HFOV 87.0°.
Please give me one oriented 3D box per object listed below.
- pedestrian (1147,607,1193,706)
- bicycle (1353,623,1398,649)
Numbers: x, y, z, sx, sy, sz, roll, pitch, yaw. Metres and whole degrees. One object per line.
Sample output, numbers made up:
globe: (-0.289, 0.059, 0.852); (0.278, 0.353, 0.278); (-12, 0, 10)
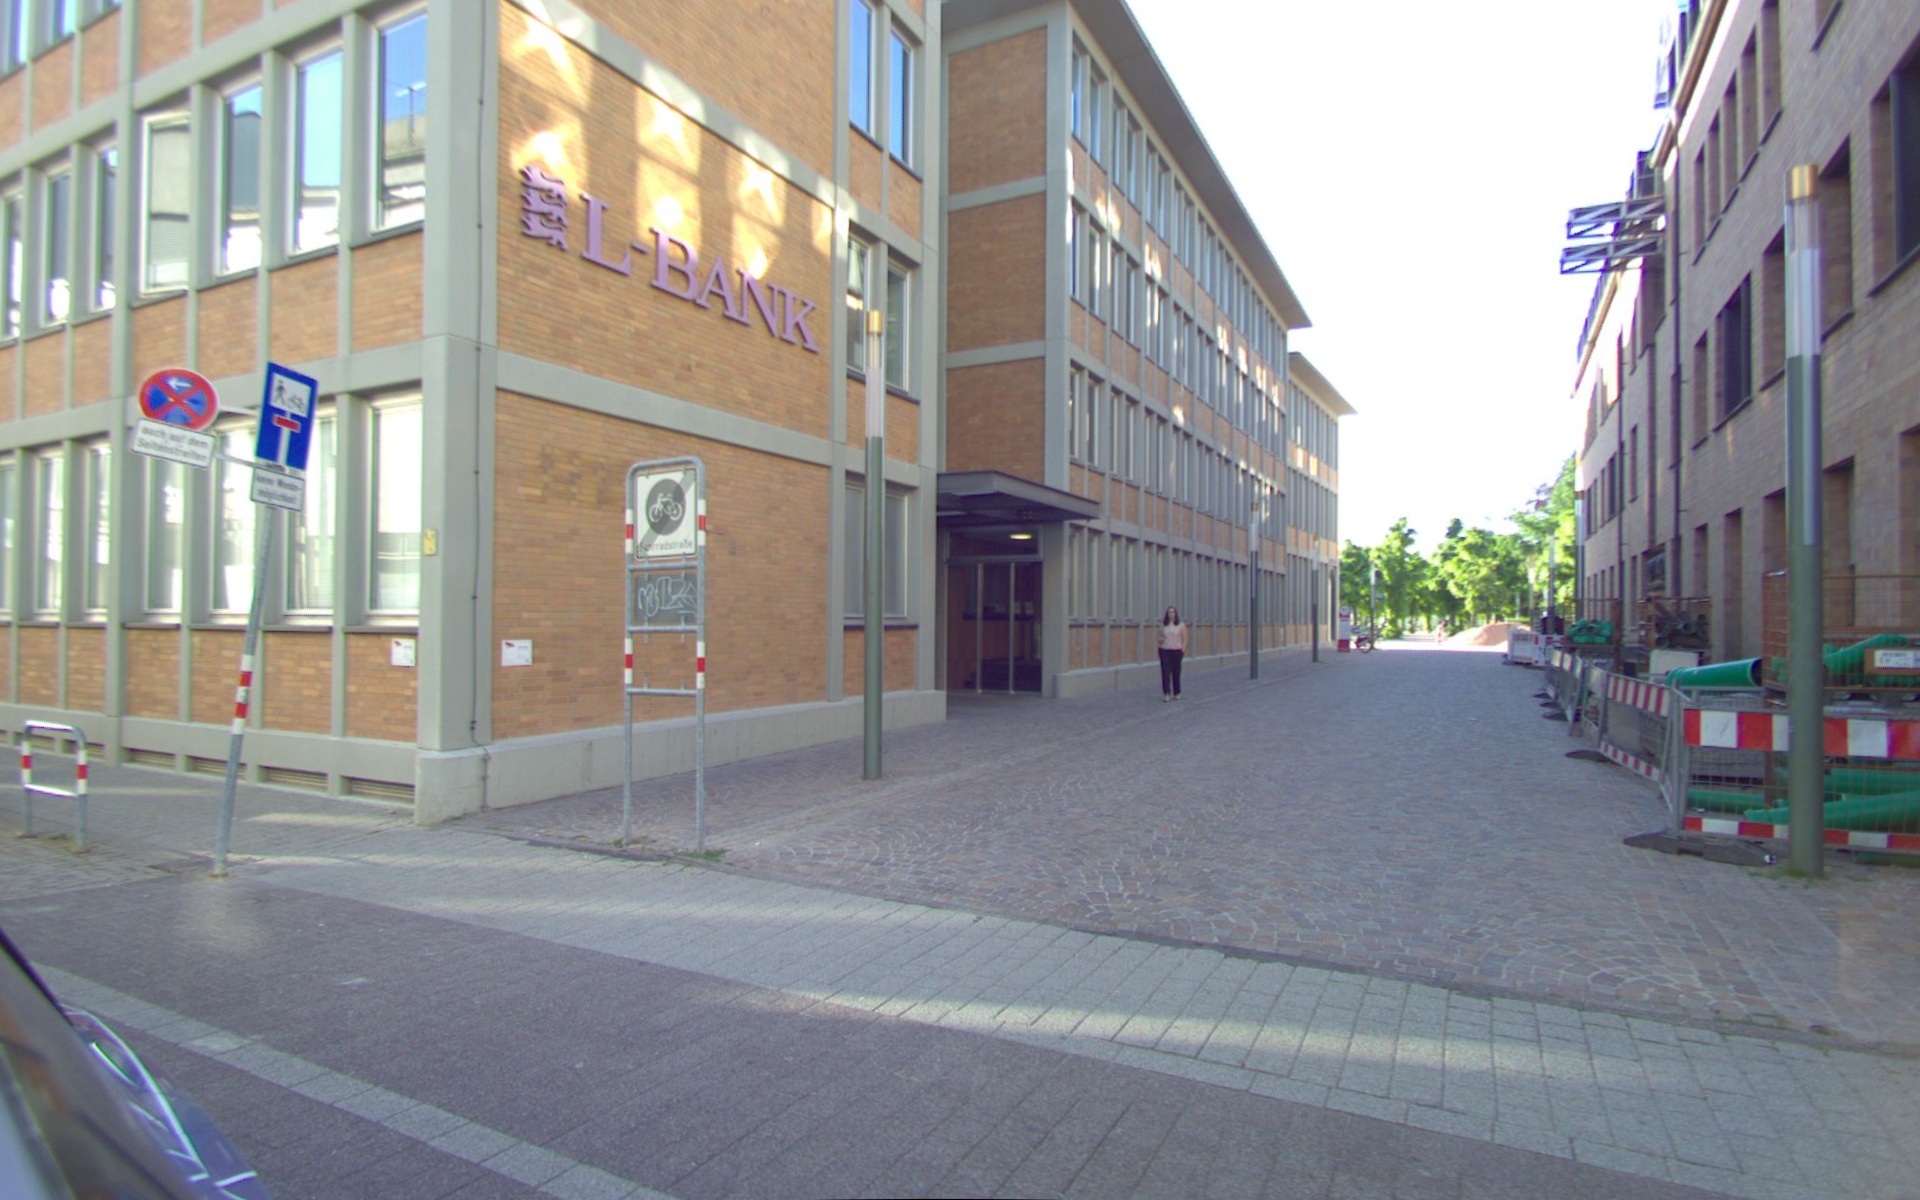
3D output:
pedestrian: (3.919, 1.034, 18.871); (0.690, 1.793, 0.691); (0, -1, 27)
bicycle: (20.743, 1.768, 50.533); (2.039, 1.270, 0.726); (0, -1, -14)
